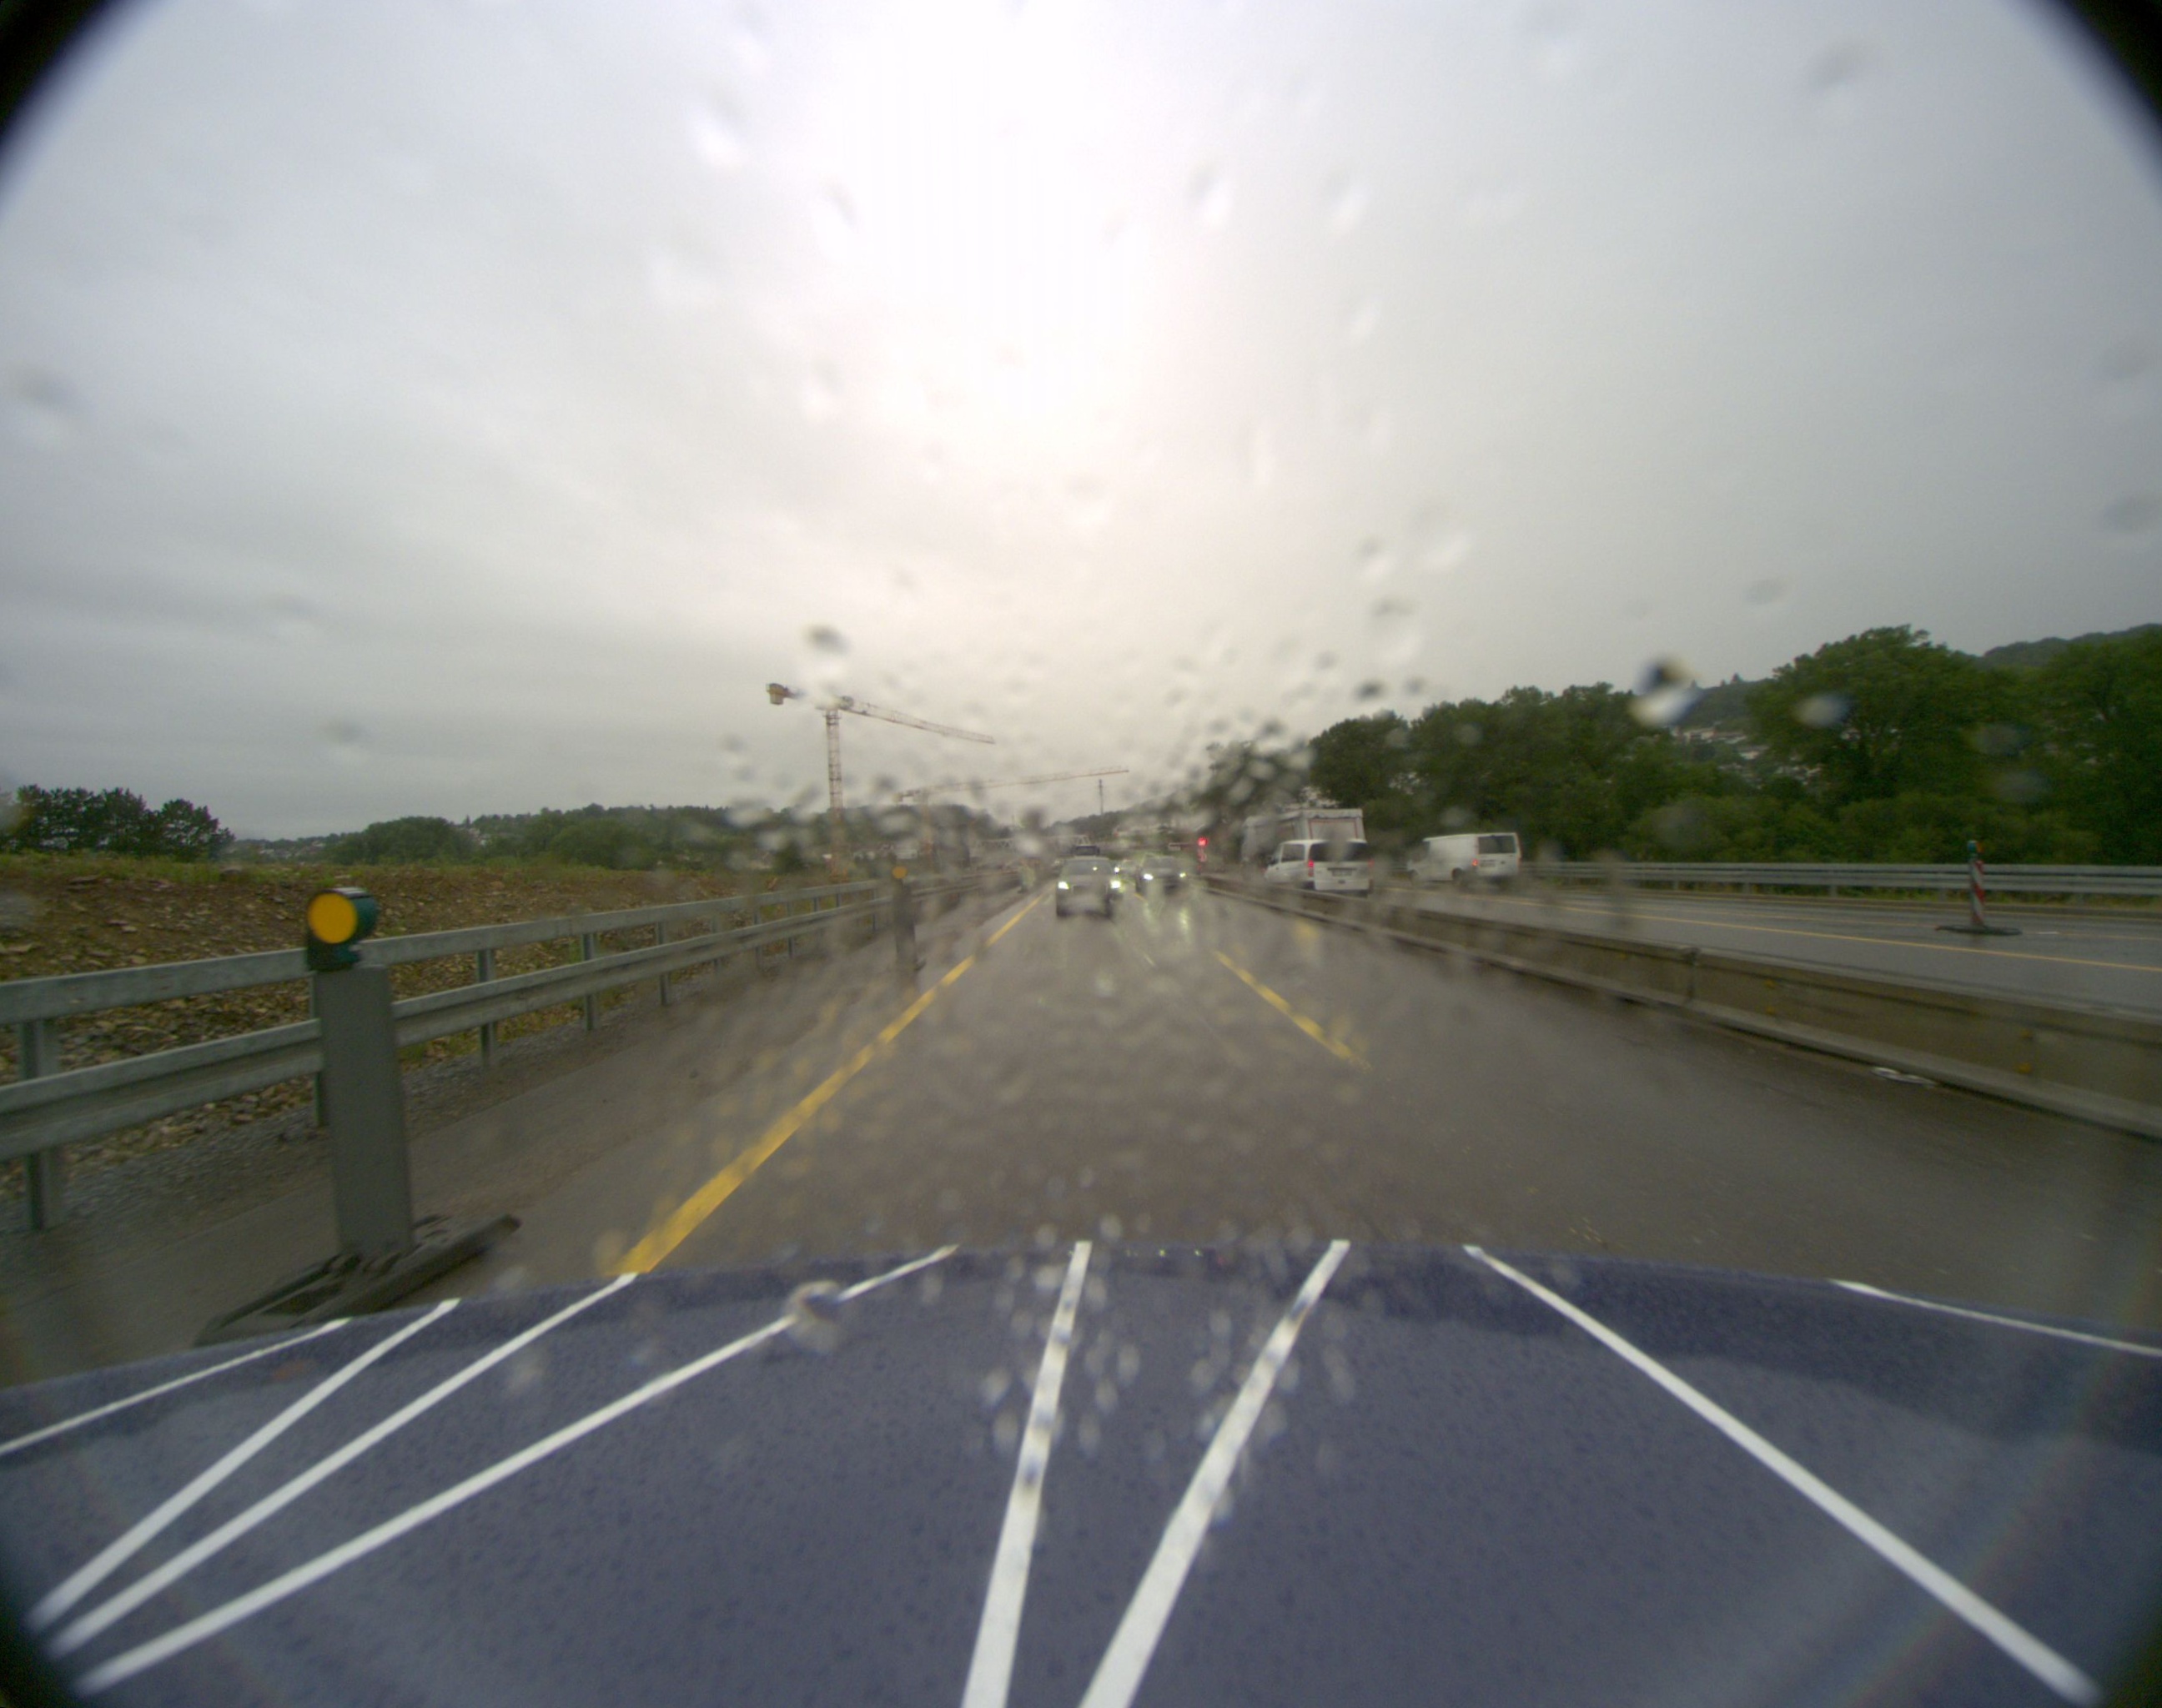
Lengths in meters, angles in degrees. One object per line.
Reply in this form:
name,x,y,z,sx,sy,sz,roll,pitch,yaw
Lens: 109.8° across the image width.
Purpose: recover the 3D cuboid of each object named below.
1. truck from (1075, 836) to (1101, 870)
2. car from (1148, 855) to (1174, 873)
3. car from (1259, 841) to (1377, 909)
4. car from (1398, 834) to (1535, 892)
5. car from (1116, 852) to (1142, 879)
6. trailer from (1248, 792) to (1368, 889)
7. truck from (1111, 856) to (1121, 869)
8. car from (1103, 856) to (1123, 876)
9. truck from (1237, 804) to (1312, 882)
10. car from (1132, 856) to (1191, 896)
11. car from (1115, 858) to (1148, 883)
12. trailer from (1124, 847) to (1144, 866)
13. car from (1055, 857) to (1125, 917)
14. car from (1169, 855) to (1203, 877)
truck,0.726,-0.123,82.003,2.576,3.450,6.627,-2,0,1
car,7.516,0.931,71.867,1.998,1.645,4.470,0,0,0
car,6.956,0.557,22.960,1.879,1.782,5.359,-1,0,0
car,14.670,0.323,29.310,2.272,2.002,5.043,-2,0,-7
car,3.858,0.917,60.834,1.998,2.001,4.002,-1,-1,4
trailer,10.367,-0.544,35.987,2.693,3.940,9.819,0,0,0
truck,9.886,2.312,214.274,2.608,3.605,6.539,-2,0,1
car,3.634,1.396,86.530,1.999,2.001,4.188,-2,-2,0
truck,10.334,-0.548,41.094,2.693,3.904,5.273,0,0,0
car,3.230,0.841,31.154,1.951,1.430,4.483,-2,0,1
car,3.078,0.968,47.303,1.781,1.430,4.483,-2,0,1
trailer,11.048,0.613,158.642,3.285,3.885,13.701,-2,-1,1
car,0.259,0.867,22.026,1.781,1.514,4.140,-2,0,1
car,7.127,0.792,51.736,1.714,1.445,4.000,-2,0,0
